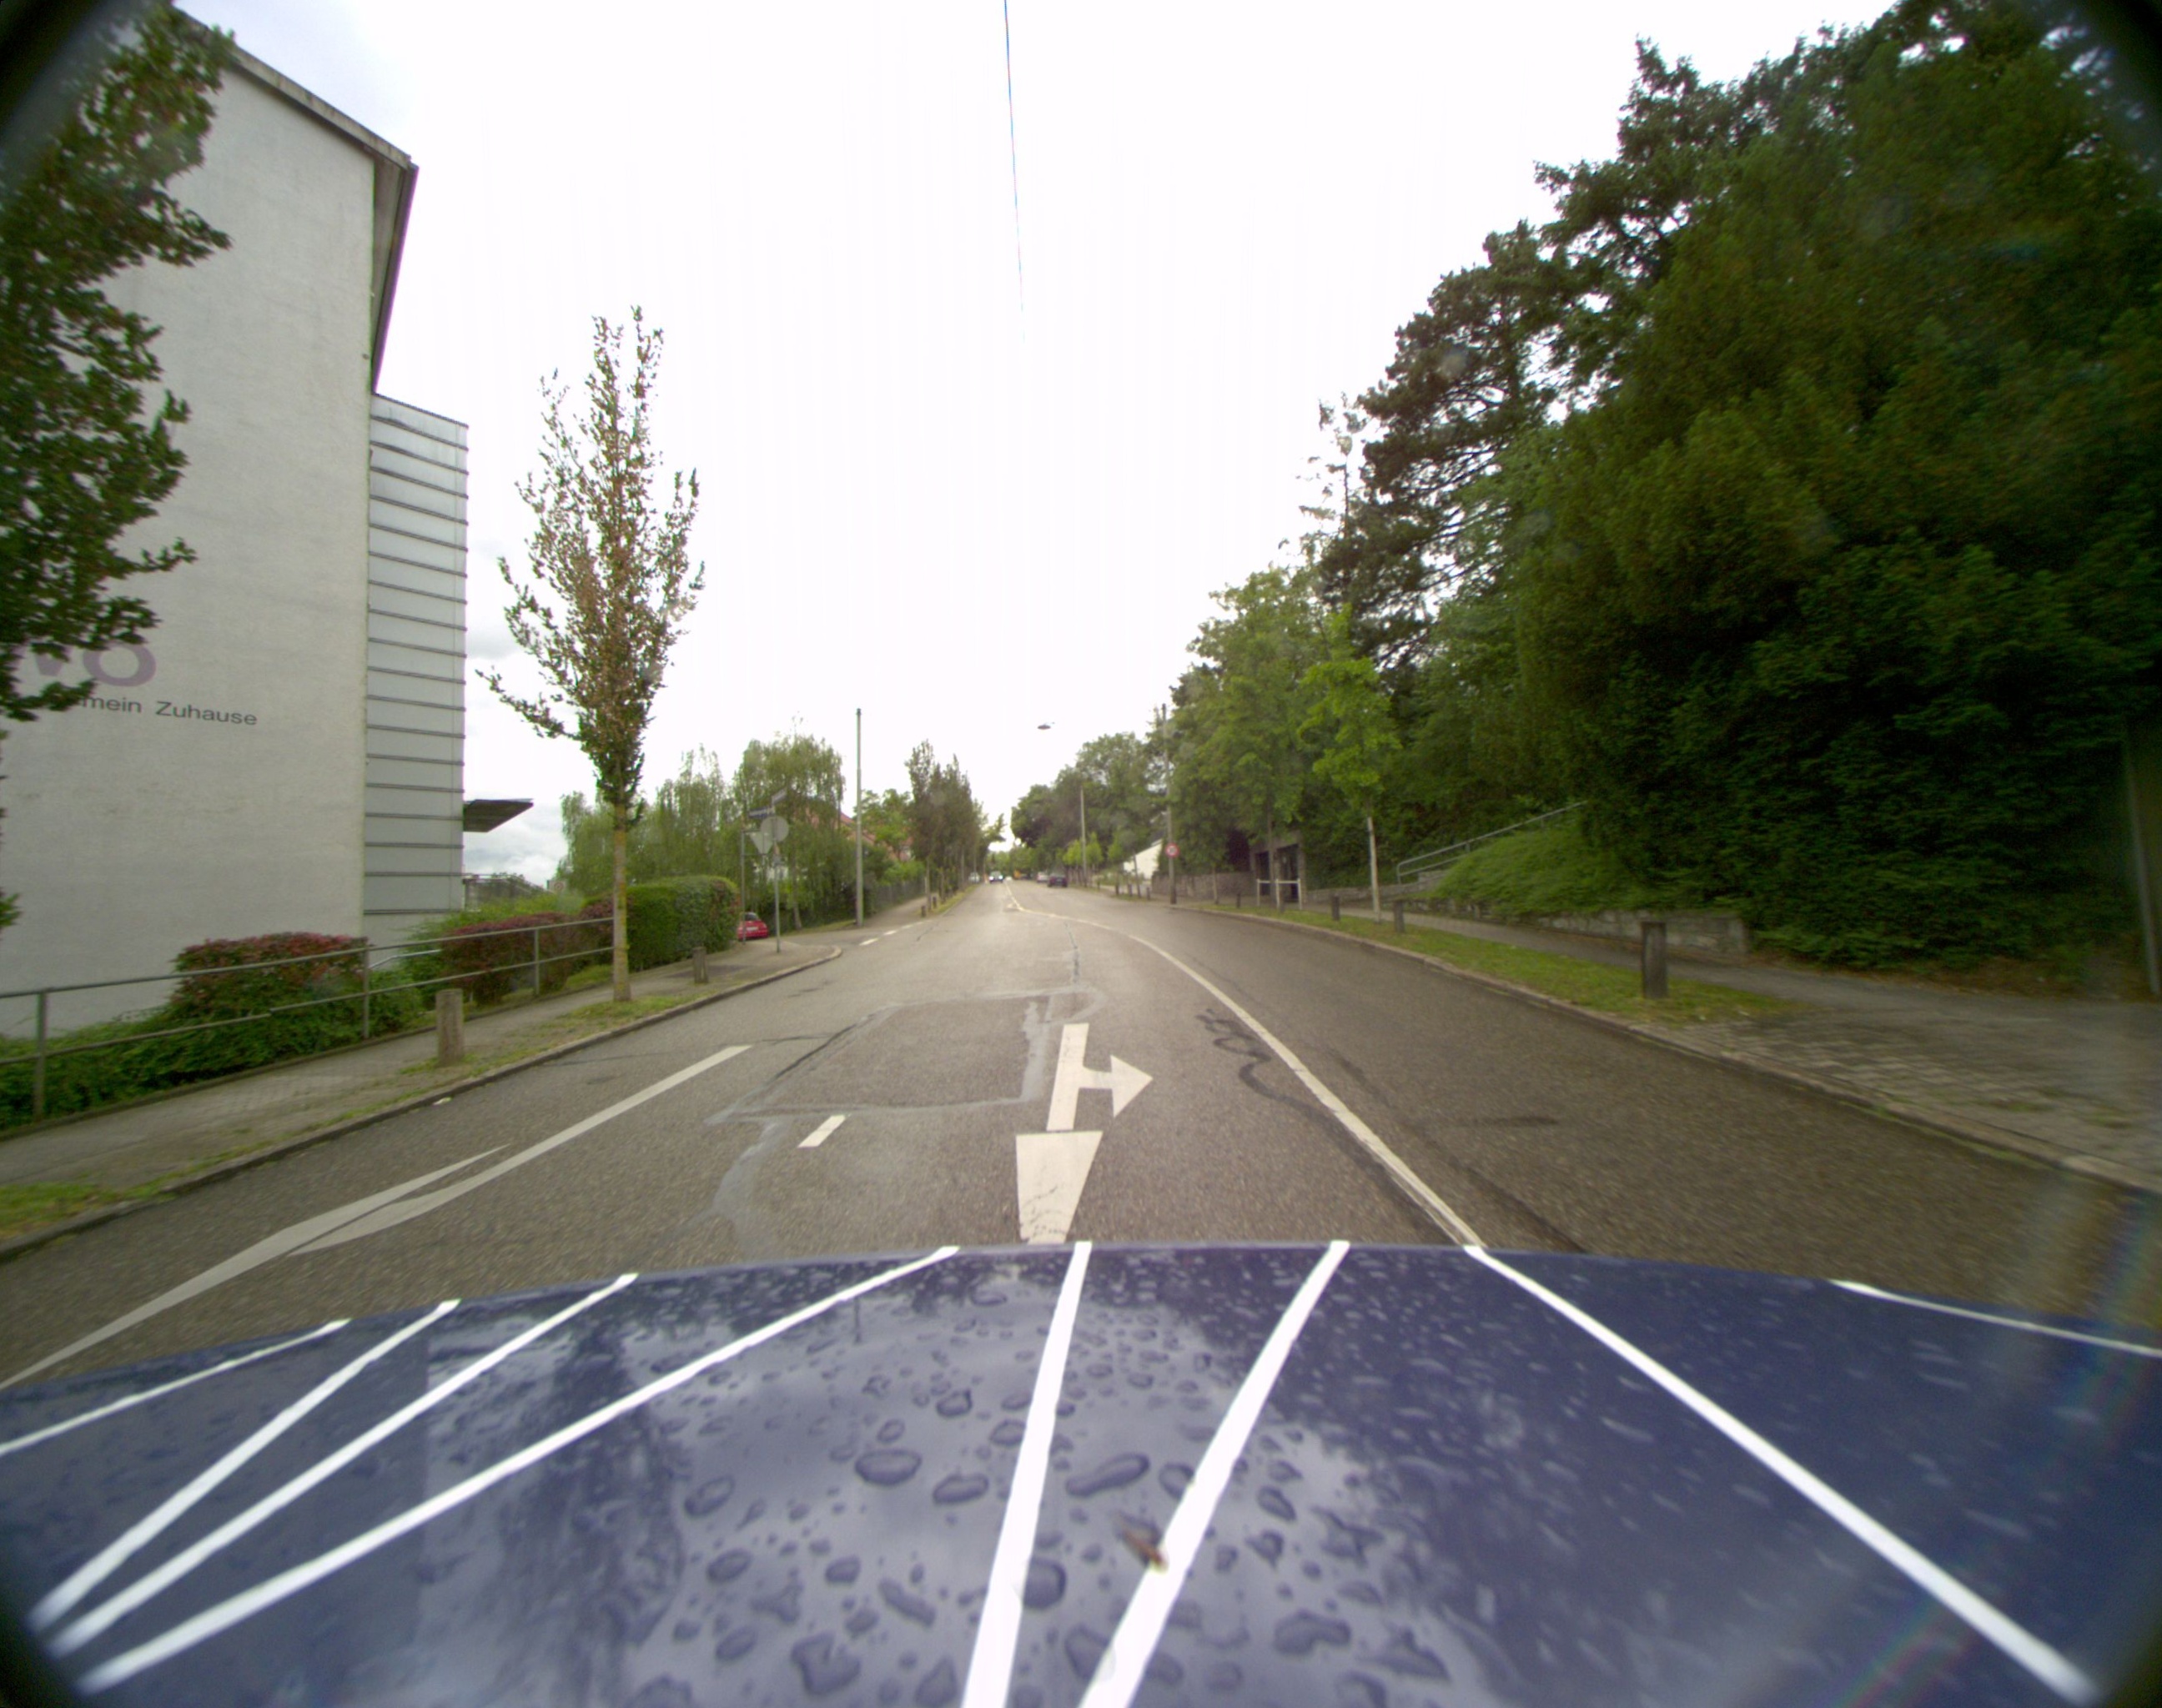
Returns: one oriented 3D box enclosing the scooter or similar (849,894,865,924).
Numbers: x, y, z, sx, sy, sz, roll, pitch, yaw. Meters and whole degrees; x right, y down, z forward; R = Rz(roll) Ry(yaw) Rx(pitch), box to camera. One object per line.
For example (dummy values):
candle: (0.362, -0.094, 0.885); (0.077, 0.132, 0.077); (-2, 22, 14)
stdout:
scooter or similar: (-9.931, 2.429, 33.727); (0.344, 1.247, 1.267); (-5, 1, -7)

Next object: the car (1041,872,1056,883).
car: (-4.318, 3.119, 100.247); (1.770, 1.477, 3.800); (1, -2, -6)

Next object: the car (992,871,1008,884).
car: (-11.768, 3.456, 110.468); (1.999, 1.673, 4.000); (-5, -1, -3)

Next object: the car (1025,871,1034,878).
car: (-11.351, 4.403, 166.160); (1.751, 1.539, 3.916); (1, -1, -7)

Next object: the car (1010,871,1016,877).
car: (-17.884, 5.158, 199.745); (1.767, 1.477, 3.998); (-1, 0, -5)

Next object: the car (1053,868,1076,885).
car: (-1.669, 2.213, 75.514); (1.917, 1.575, 4.585); (1, -1, -5)

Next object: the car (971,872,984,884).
car: (-14.966, 3.490, 110.230); (1.830, 1.620, 3.998); (-2, -1, -8)

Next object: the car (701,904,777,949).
car: (-14.989, 3.198, 33.251); (3.563, 1.512, 1.648); (-12, -8, 41)
